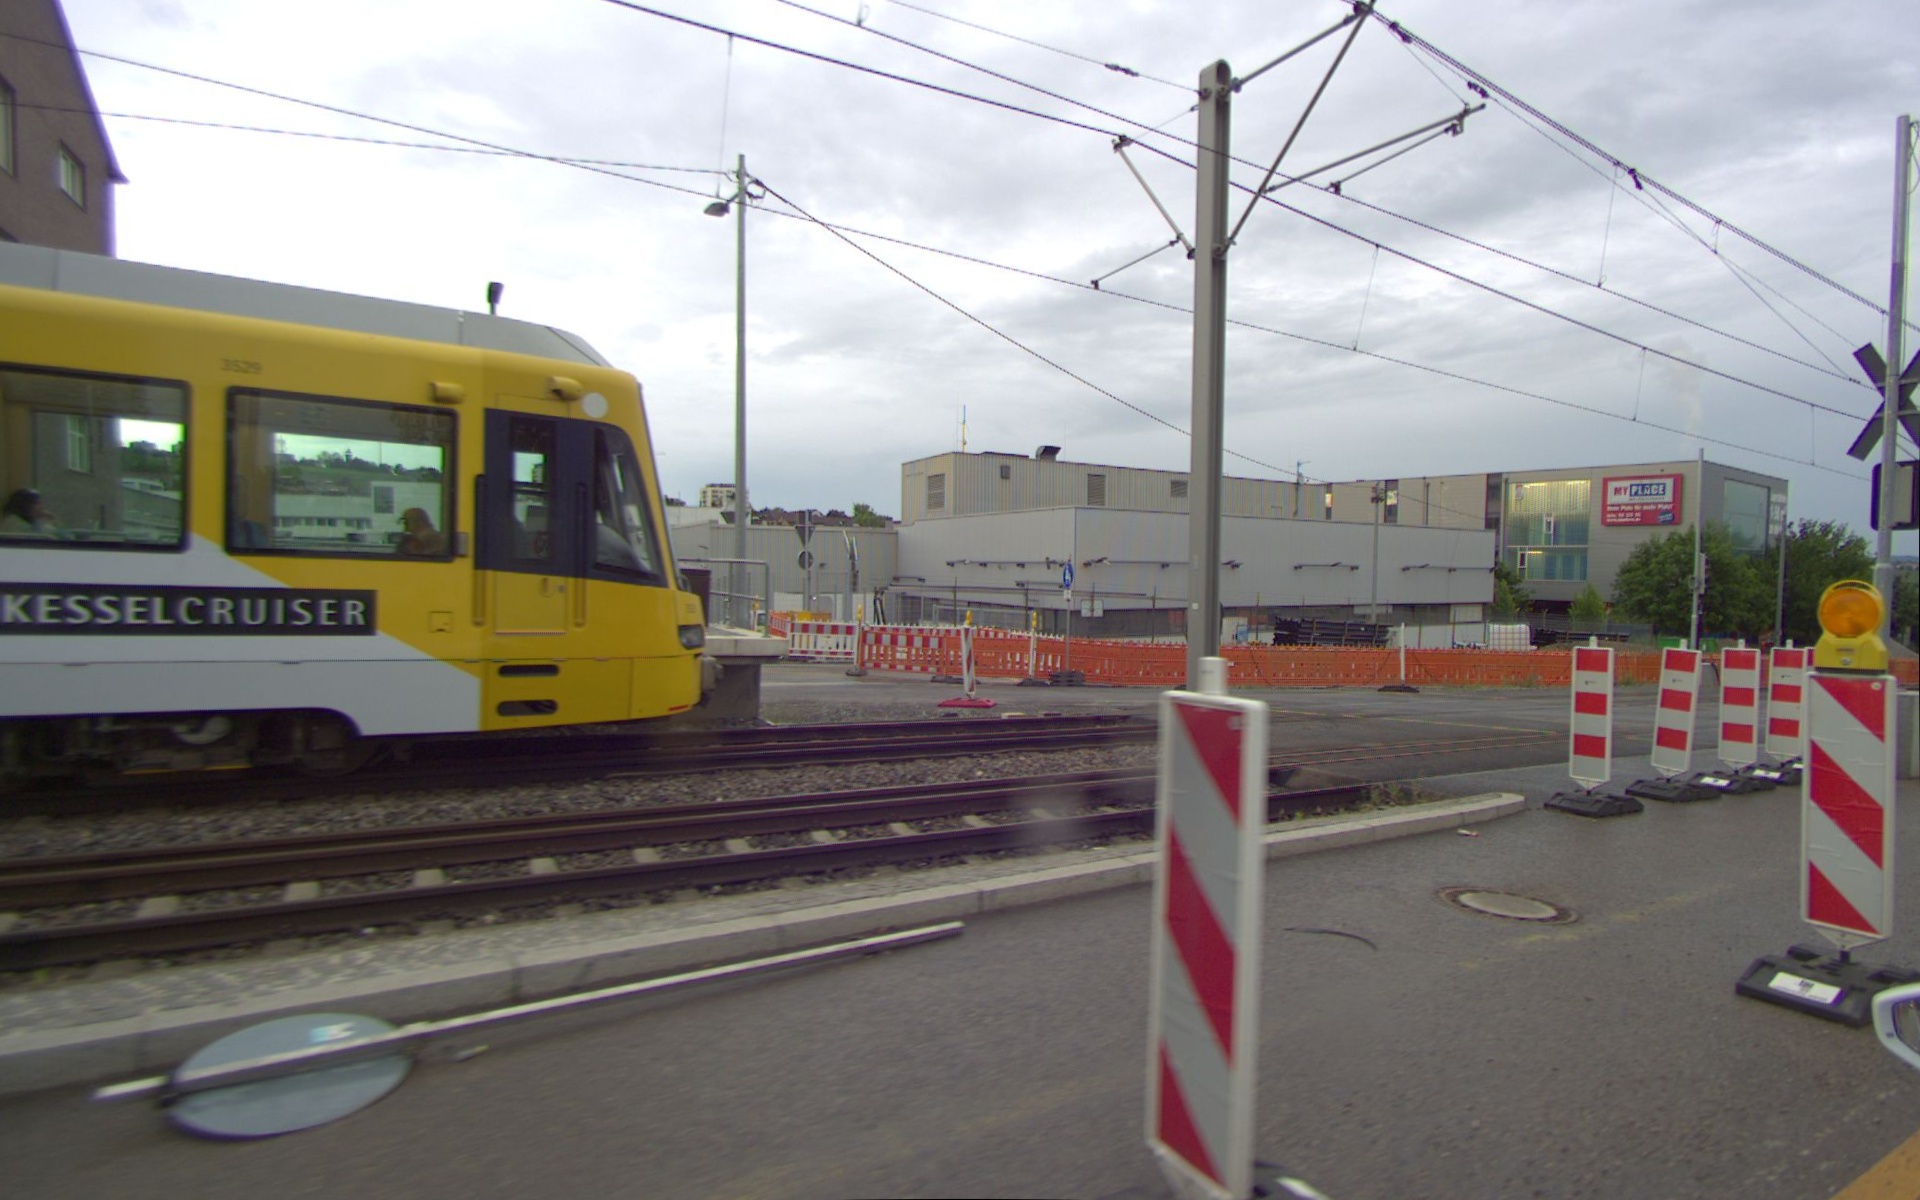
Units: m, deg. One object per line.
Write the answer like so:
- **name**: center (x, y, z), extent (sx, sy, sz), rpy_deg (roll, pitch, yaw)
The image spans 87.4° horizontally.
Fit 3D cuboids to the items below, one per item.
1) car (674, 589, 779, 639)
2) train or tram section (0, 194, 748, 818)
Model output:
- **car**: center (-10.238, 0.641, 44.168), extent (3.969, 2.040, 1.976), rpy_deg (2, -1, -41)
- **train or tram section**: center (-10.879, -0.740, 5.302), extent (19.059, 3.938, 2.941), rpy_deg (1, 2, -30)
